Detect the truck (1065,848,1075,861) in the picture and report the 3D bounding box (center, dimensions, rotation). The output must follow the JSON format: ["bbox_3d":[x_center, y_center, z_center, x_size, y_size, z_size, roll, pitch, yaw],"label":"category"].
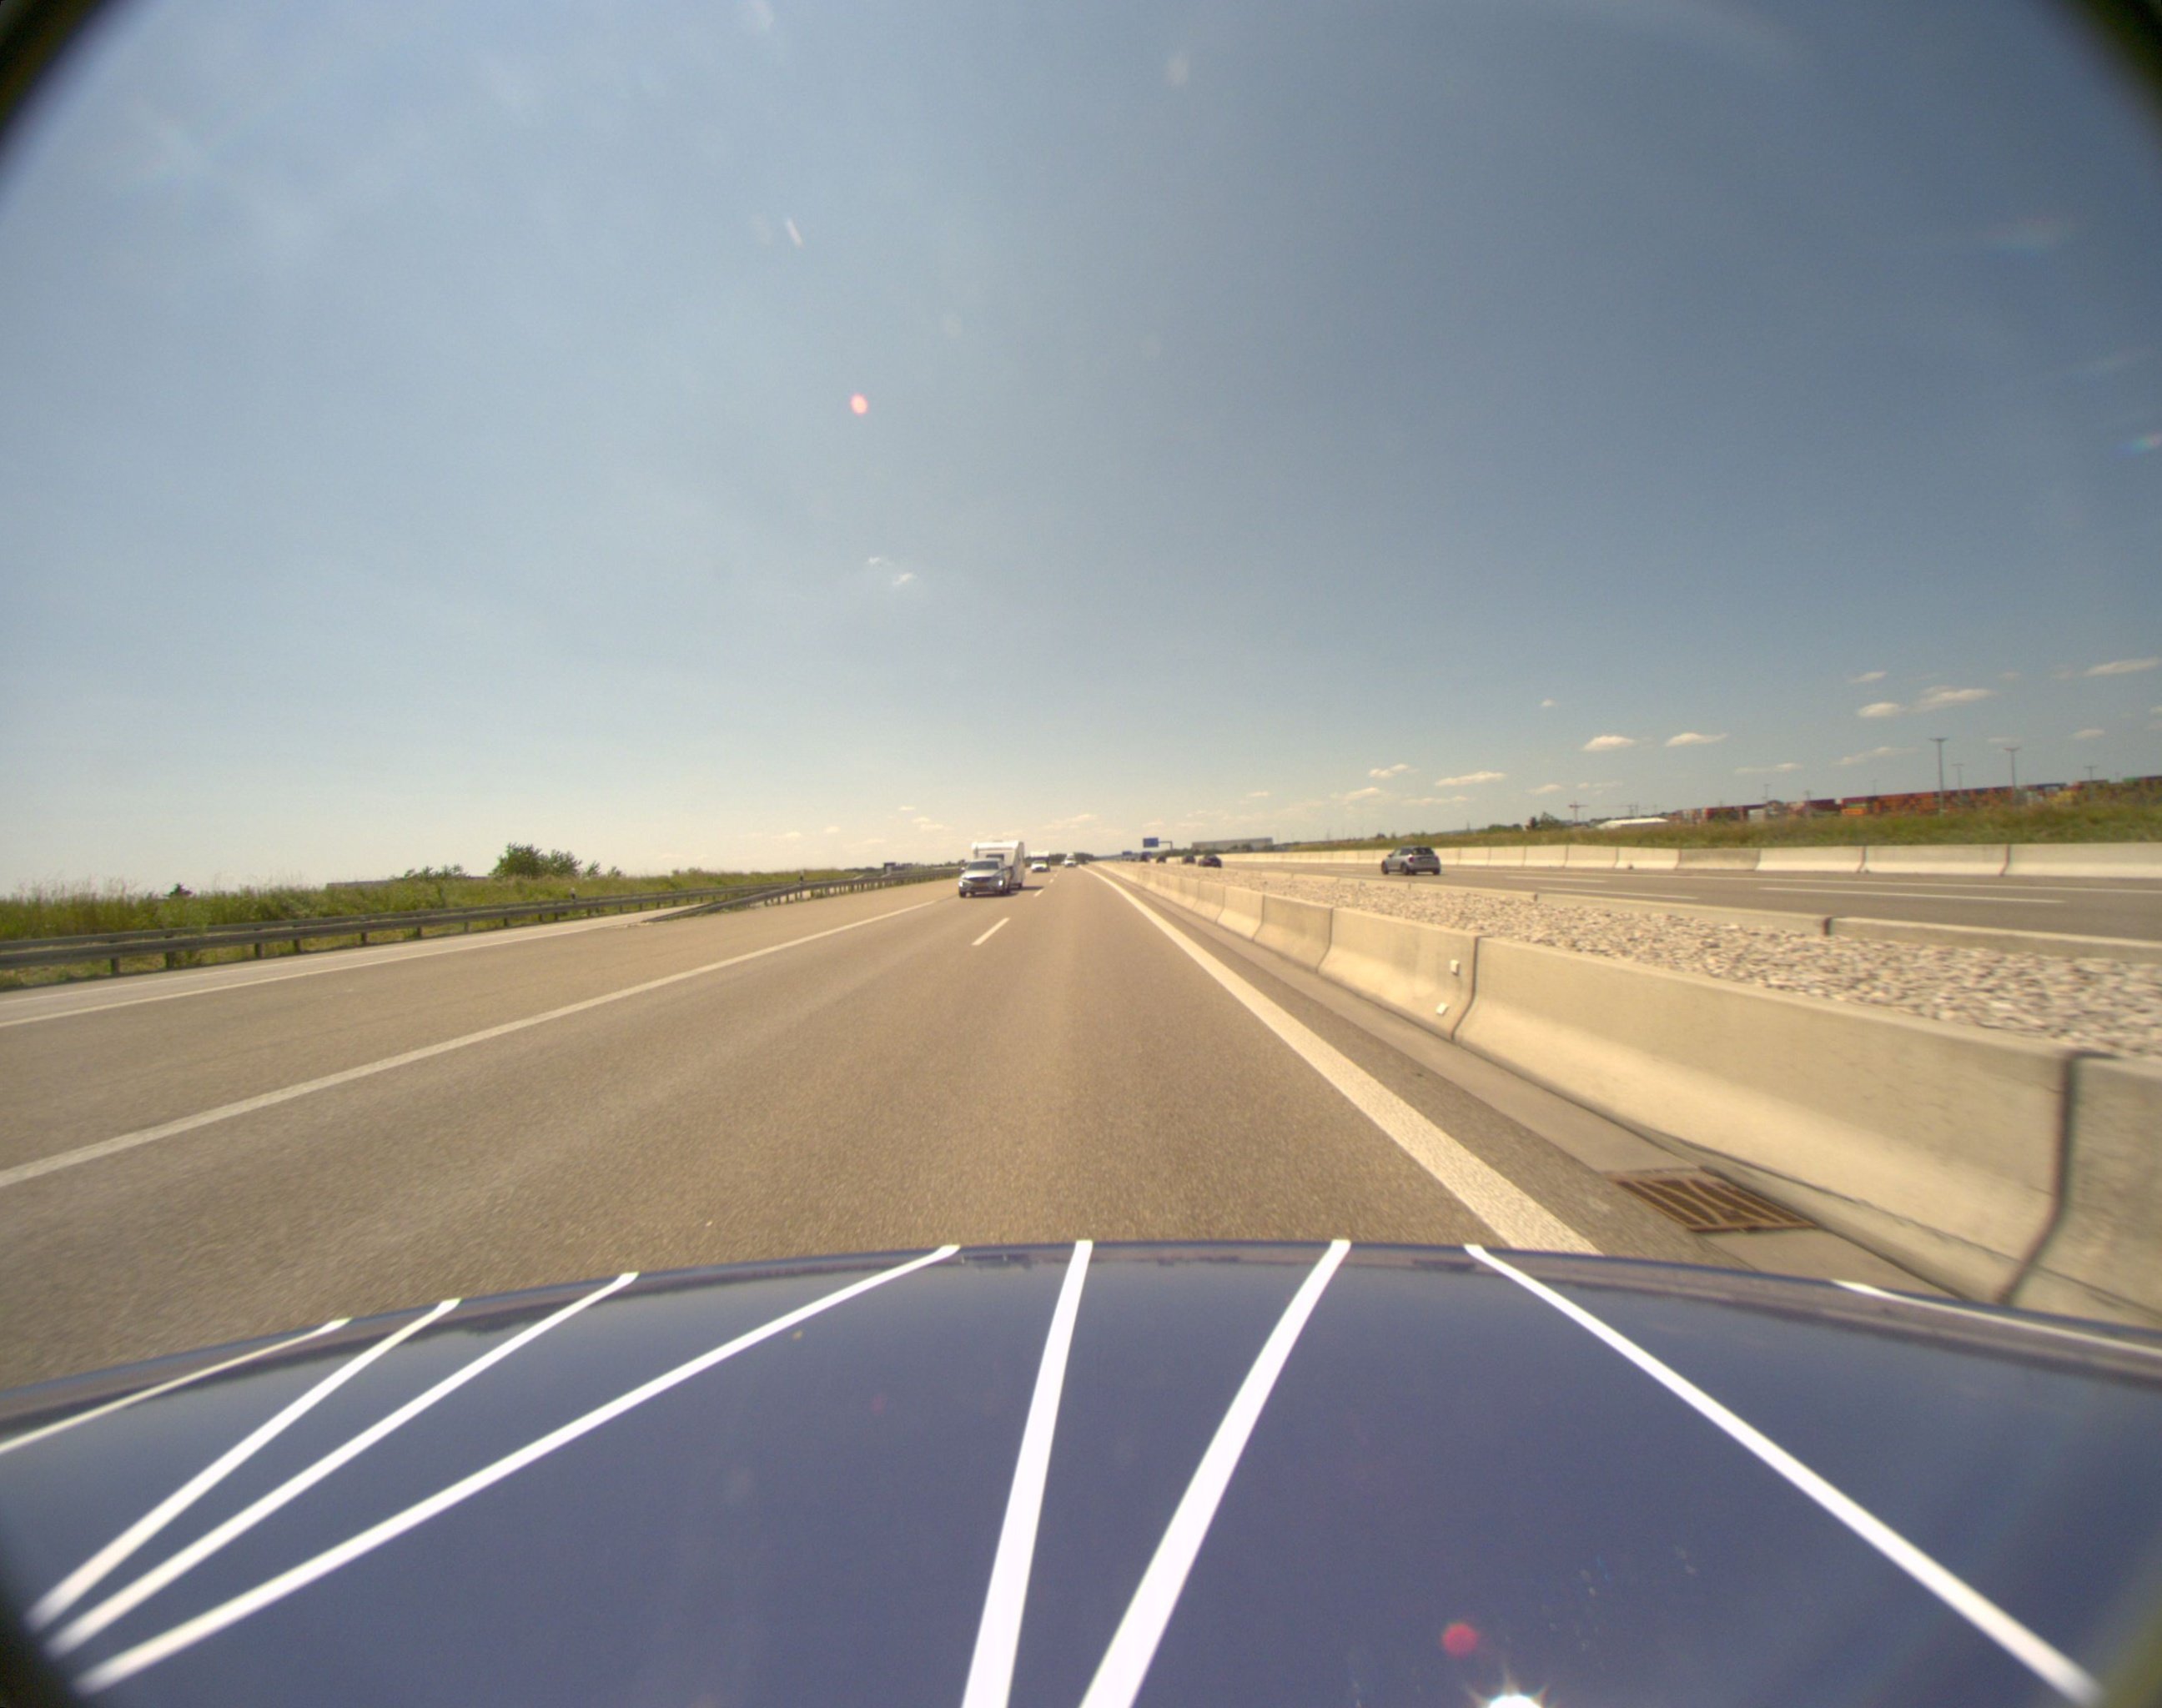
[{"bbox_3d":[-2.564,0.070,175.470,2.168,2.797,6.489,-2,0,0],"label":"truck"}]

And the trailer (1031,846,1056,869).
[{"bbox_3d":[-4.707,0.447,95.897,2.500,2.686,7.156,-2,-1,2],"label":"trailer"}]

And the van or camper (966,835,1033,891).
[{"bbox_3d":[-4.096,0.490,39.792,2.519,2.577,7.818,-2,-1,0],"label":"van or camper"}]

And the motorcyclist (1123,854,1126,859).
[{"bbox_3d":[13.083,0.741,227.584,0.920,1.488,0.923,-2,0,0],"label":"motorcyclist"}]

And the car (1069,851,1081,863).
[{"bbox_3d":[-0.988,0.501,133.980,1.998,2.002,4.000,-2,0,0],"label":"car"}]

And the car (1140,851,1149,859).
[{"bbox_3d":[16.232,0.353,194.509,1.889,2.006,4.735,-2,0,1],"label":"car"}]

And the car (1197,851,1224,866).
[{"bbox_3d":[12.660,0.413,74.564,1.848,1.374,4.752,-3,0,2],"label":"car"}]

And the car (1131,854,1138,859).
[{"bbox_3d":[17.725,0.726,251.946,1.915,1.450,4.284,-2,0,-1],"label":"car"}]

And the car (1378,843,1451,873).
[{"bbox_3d":[16.502,0.197,37.812,1.895,1.321,3.986,-2,0,0],"label":"car"}]

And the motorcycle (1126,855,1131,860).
[{"bbox_3d":[12.505,0.957,199.949,0.960,1.162,2.722,-2,0,0],"label":"motorcycle"}]

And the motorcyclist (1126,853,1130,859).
[{"bbox_3d":[12.486,0.601,200.053,0.922,1.612,1.088,-2,0,0],"label":"motorcyclist"}]

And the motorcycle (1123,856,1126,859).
[{"bbox_3d":[13.084,1.092,227.362,0.777,0.897,2.705,-2,0,1],"label":"motorcycle"}]

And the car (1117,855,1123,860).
[{"bbox_3d":[13.588,1.115,265.298,1.998,1.659,4.649,-2,0,0],"label":"car"}]

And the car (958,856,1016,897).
[{"bbox_3d":[-4.053,0.941,33.553,1.885,1.613,4.904,-2,-1,0],"label":"car"}]

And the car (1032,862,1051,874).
[{"bbox_3d":[-4.661,1.618,90.490,1.872,1.351,3.673,-1,-1,2],"label":"car"}]

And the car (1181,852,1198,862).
[{"bbox_3d":[16.409,0.500,114.886,1.998,1.371,4.364,-2,0,1],"label":"car"}]

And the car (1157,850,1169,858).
[{"bbox_3d":[16.953,-0.010,157.001,1.874,1.483,5.137,-2,1,-1],"label":"car"}]
